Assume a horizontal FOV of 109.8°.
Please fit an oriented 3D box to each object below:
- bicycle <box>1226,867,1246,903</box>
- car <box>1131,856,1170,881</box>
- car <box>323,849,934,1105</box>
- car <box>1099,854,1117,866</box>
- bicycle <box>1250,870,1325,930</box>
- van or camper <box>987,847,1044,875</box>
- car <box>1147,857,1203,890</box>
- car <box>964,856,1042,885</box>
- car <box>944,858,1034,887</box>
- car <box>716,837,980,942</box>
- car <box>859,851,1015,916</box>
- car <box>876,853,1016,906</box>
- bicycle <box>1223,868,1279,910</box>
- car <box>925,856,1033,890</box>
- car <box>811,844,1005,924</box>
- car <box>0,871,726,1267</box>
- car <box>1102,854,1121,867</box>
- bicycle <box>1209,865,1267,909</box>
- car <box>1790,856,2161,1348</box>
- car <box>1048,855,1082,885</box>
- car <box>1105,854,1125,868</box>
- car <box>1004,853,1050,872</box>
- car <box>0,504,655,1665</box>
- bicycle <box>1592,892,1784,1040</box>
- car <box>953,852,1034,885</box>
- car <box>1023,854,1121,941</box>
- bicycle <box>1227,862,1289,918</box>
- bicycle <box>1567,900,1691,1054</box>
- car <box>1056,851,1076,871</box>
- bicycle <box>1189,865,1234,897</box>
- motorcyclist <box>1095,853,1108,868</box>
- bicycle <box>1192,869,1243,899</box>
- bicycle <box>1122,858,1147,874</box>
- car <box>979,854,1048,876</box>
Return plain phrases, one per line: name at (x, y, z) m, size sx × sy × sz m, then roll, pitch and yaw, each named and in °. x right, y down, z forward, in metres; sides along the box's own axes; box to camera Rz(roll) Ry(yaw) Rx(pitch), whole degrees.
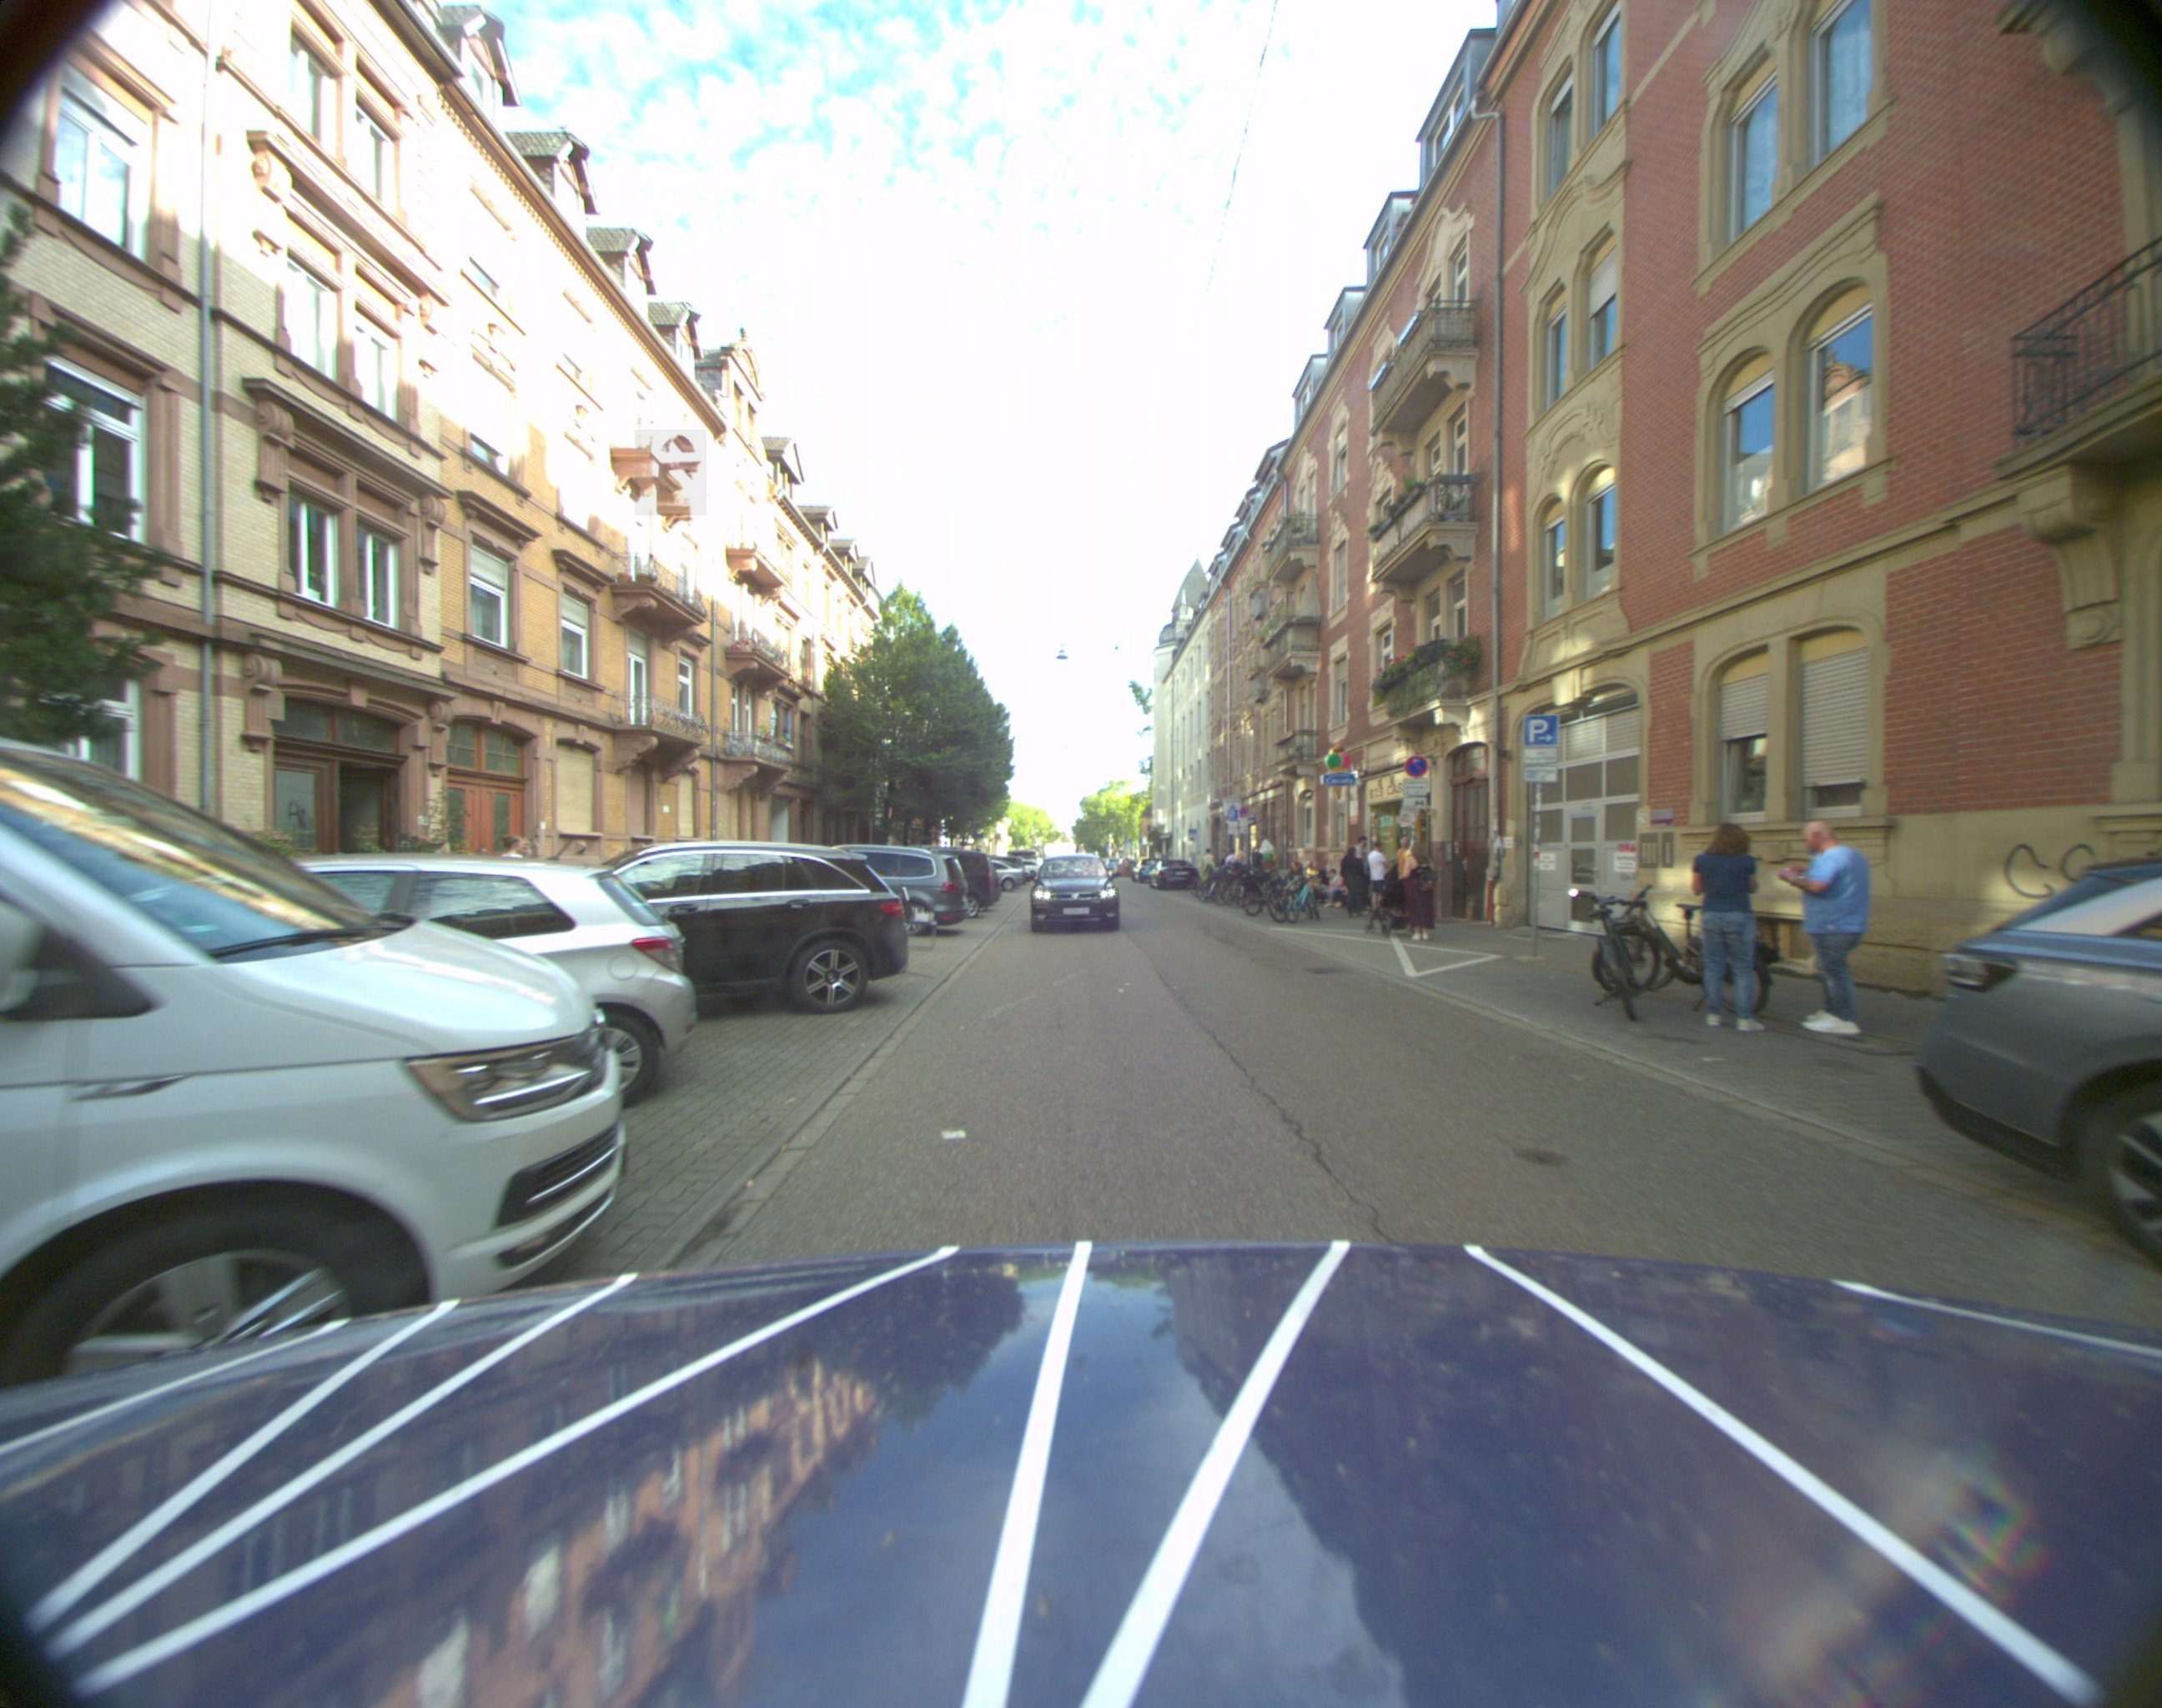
bicycle at (5.007, 0.972, 24.505) m, size 0.579 × 1.084 × 1.739 m, roll -1°, pitch 0°, yaw 12°
car at (4.101, 0.818, 45.371) m, size 1.674 × 1.407 × 4.010 m, roll -1°, pitch 0°, yaw -5°
car at (-3.915, 0.841, 7.292) m, size 4.466 × 1.722 × 1.995 m, roll -1°, pitch 0°, yaw -36°
car at (3.308, 0.688, 94.239) m, size 1.911 × 1.412 × 3.999 m, roll -1°, pitch 0°, yaw -1°
bicycle at (4.589, 0.977, 16.795) m, size 0.806 × 1.152 × 2.274 m, roll -1°, pitch 0°, yaw 36°
van or camper at (-5.236, 0.542, 60.419) m, size 4.006 × 2.166 × 1.995 m, roll -1°, pitch 1°, yaw -31°
car at (4.308, 0.860, 35.511) m, size 1.817 × 1.343 × 5.114 m, roll -1°, pitch 0°, yaw -2°
car at (-4.540, 0.931, 44.434) m, size 4.133 × 1.512 × 1.840 m, roll -1°, pitch 1°, yaw -37°
car at (-4.655, 0.909, 38.673) m, size 4.146 × 1.409 × 1.864 m, roll 1°, pitch -1°, yaw -36°
car at (-4.479, 0.706, 15.165) m, size 4.649 × 1.774 × 1.810 m, roll 2°, pitch -2°, yaw -2°
car at (-4.120, 0.813, 21.942) m, size 4.007 × 1.730 × 1.835 m, roll 1°, pitch 0°, yaw -32°
car at (-4.315, 0.830, 24.516) m, size 4.009 × 1.539 × 1.864 m, roll 2°, pitch -1°, yaw -38°
bicycle at (4.851, 0.973, 21.617) m, size 1.741 × 1.114 × 0.554 m, roll -2°, pitch 1°, yaw -37°
car at (-4.718, 0.888, 35.321) m, size 4.621 × 1.443 × 1.788 m, roll 2°, pitch 0°, yaw -33°
car at (-4.333, 0.728, 19.289) m, size 4.412 × 1.812 × 1.750 m, roll 2°, pitch 0°, yaw -33°
car at (-4.461, 0.916, 4.177) m, size 4.245 × 1.540 × 1.868 m, roll -1°, pitch -1°, yaw -36°
car at (3.511, 0.711, 87.897) m, size 1.911 × 1.412 × 3.999 m, roll -1°, pitch 0°, yaw -1°
bicycle at (4.606, 0.941, 22.200) m, size 1.794 × 1.193 × 0.589 m, roll -2°, pitch 1°, yaw -37°
car at (4.557, 0.820, 1.133) m, size 1.830 × 1.569 × 5.261 m, roll -1°, pitch 0°, yaw -5°
car at (-0.861, 0.890, 44.111) m, size 1.811 × 1.622 × 4.000 m, roll -2°, pitch 0°, yaw 0°
car at (3.626, 0.713, 81.813) m, size 1.828 × 1.477 × 4.169 m, roll -1°, pitch 0°, yaw -1°
car at (-5.298, 0.819, 74.282) m, size 4.007 × 1.663 × 1.922 m, roll -1°, pitch 0°, yaw -33°
car at (-3.926, 0.457, 1.562) m, size 5.170 × 2.391 × 1.913 m, roll 1°, pitch 0°, yaw -34°
bicycle at (5.613, 0.974, 7.181) m, size 0.494 × 1.089 × 1.905 m, roll -2°, pitch 1°, yaw 8°
car at (-4.773, 0.791, 41.598) m, size 4.008 × 1.689 × 1.848 m, roll 1°, pitch -1°, yaw -36°
car at (-0.069, 0.850, 16.921) m, size 1.874 × 1.644 × 4.387 m, roll -1°, pitch 0°, yaw 3°
bicycle at (4.435, 0.881, 19.004) m, size 1.680 × 1.314 × 0.526 m, roll -2°, pitch 1°, yaw -37°
bicycle at (4.860, 1.013, 6.849) m, size 0.482 × 1.053 × 1.907 m, roll -2°, pitch 1°, yaw 23°
car at (-1.520, 0.719, 77.316) m, size 1.811 × 1.914 × 4.000 m, roll -2°, pitch 0°, yaw 0°
bicycle at (4.690, 0.978, 27.335) m, size 1.577 × 1.110 × 0.375 m, roll -1°, pitch 1°, yaw 38°
motorcyclist at (1.765, 0.558, 65.506) m, size 1.016 × 1.238 × 0.802 m, roll -1°, pitch 1°, yaw -7°
bicycle at (4.765, 1.056, 26.538) m, size 1.683 × 1.024 × 0.410 m, roll -1°, pitch 1°, yaw 19°
bicycle at (4.068, 0.914, 58.177) m, size 1.873 × 1.168 × 0.687 m, roll -1°, pitch 1°, yaw 1°
car at (-5.113, 0.842, 57.881) m, size 4.817 × 1.535 × 1.865 m, roll 2°, pitch 0°, yaw -33°
